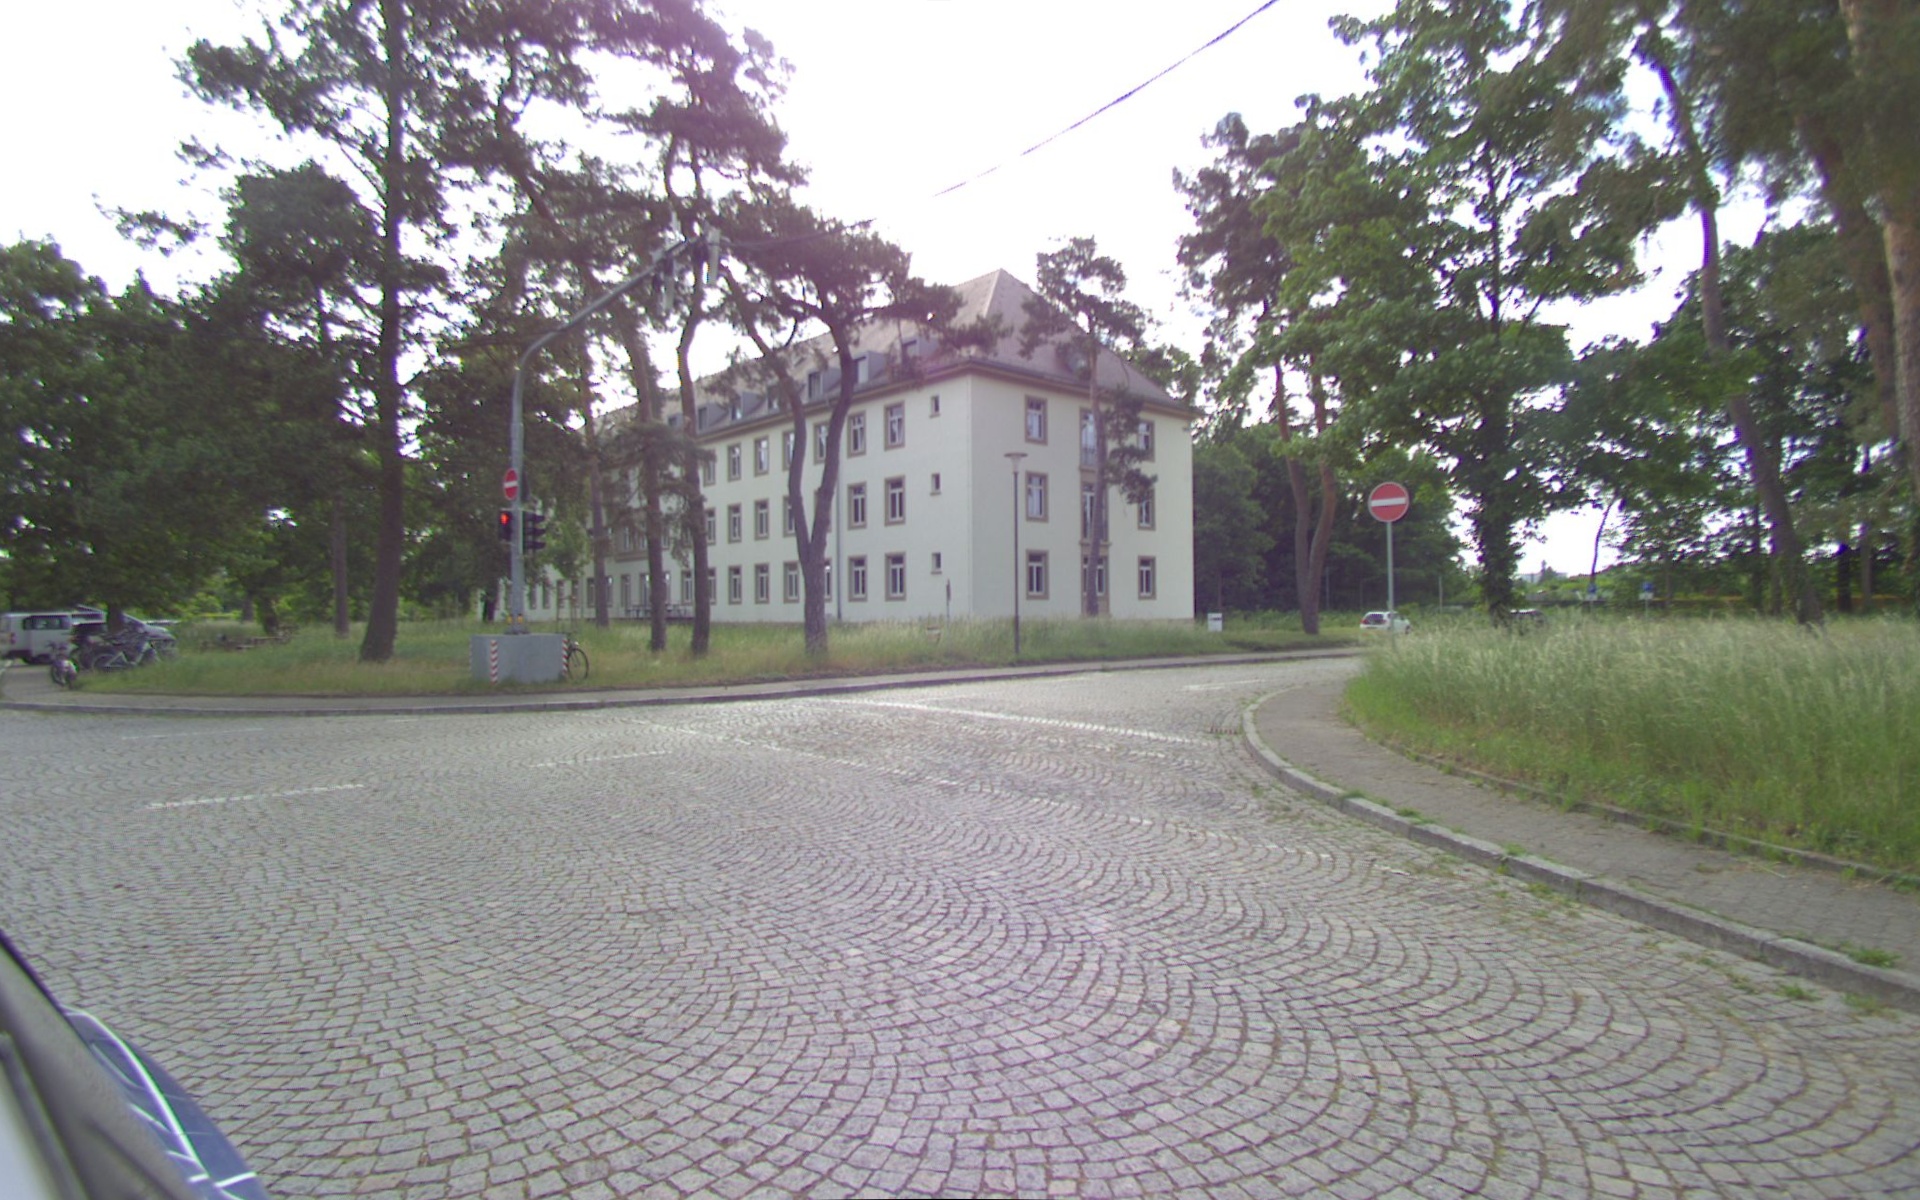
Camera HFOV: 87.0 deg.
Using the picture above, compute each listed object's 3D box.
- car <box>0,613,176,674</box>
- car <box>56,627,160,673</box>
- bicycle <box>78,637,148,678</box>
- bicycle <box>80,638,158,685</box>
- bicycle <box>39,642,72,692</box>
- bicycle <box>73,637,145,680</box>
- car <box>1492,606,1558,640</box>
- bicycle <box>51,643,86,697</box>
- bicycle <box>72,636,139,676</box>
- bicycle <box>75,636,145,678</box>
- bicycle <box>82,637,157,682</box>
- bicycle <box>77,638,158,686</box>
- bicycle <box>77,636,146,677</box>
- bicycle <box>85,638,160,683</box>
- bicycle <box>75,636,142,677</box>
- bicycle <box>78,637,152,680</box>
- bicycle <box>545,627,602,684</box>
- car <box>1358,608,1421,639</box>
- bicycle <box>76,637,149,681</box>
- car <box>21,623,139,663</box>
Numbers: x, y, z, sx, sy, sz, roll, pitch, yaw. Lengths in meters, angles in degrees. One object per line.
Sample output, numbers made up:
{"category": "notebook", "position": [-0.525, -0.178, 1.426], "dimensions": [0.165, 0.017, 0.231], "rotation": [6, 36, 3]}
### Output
{"category": "car", "position": [-33.186, 1.585, 38.354], "dimensions": [2.030, 1.931, 5.113], "rotation": [-2, 0, 34]}
{"category": "car", "position": [-30.515, 1.747, 36.268], "dimensions": [2.732, 1.426, 1.593], "rotation": [-3, 1, -44]}
{"category": "bicycle", "position": [-23.940, 1.610, 28.612], "dimensions": [0.498, 1.046, 1.437], "rotation": [-1, 2, 42]}
{"category": "bicycle", "position": [-21.344, 1.541, 25.691], "dimensions": [0.498, 1.046, 1.437], "rotation": [-1, 2, 42]}
{"category": "bicycle", "position": [-20.768, 1.520, 23.235], "dimensions": [0.490, 1.046, 1.418], "rotation": [-3, 2, -43]}
{"category": "bicycle", "position": [-23.588, 1.600, 28.075], "dimensions": [0.498, 1.046, 1.437], "rotation": [-1, 2, 42]}
{"category": "car", "position": [29.264, 1.162, 52.385], "dimensions": [3.994, 1.622, 1.719], "rotation": [0, 1, -41]}
{"category": "bicycle", "position": [-19.547, 1.511, 22.176], "dimensions": [0.490, 1.082, 1.418], "rotation": [-3, 2, -43]}
{"category": "bicycle", "position": [-25.362, 1.659, 30.042], "dimensions": [0.498, 1.046, 1.437], "rotation": [-1, 2, 42]}
{"category": "bicycle", "position": [-24.301, 1.613, 28.946], "dimensions": [0.498, 1.046, 1.437], "rotation": [-1, 2, 42]}
{"category": "bicycle", "position": [-22.367, 1.569, 26.953], "dimensions": [0.498, 1.046, 1.437], "rotation": [-1, 2, 42]}
{"category": "bicycle", "position": [-20.851, 1.512, 25.062], "dimensions": [0.497, 1.046, 1.438], "rotation": [-1, 2, 40]}
{"category": "bicycle", "position": [-24.614, 1.624, 29.376], "dimensions": [0.498, 1.046, 1.437], "rotation": [-1, 2, 42]}
{"category": "bicycle", "position": [-21.951, 1.566, 26.541], "dimensions": [0.498, 1.046, 1.437], "rotation": [-1, 2, 42]}
{"category": "bicycle", "position": [-25.001, 1.646, 29.728], "dimensions": [0.498, 1.046, 1.437], "rotation": [-1, 2, 42]}
{"category": "bicycle", "position": [-22.884, 1.566, 27.417], "dimensions": [0.498, 1.046, 1.437], "rotation": [-1, 2, 42]}
{"category": "bicycle", "position": [-7.788, 1.095, 20.391], "dimensions": [1.417, 1.082, 0.490], "rotation": [-1, 2, 45]}
{"category": "car", "position": [24.777, 1.330, 58.331], "dimensions": [3.993, 1.622, 1.720], "rotation": [0, 1, -39]}
{"category": "bicycle", "position": [-23.224, 1.603, 27.740], "dimensions": [0.498, 1.046, 1.437], "rotation": [-1, 2, 42]}
{"category": "car", "position": [-42.530, 2.050, 48.971], "dimensions": [1.858, 1.733, 4.039], "rotation": [1, 0, 39]}
